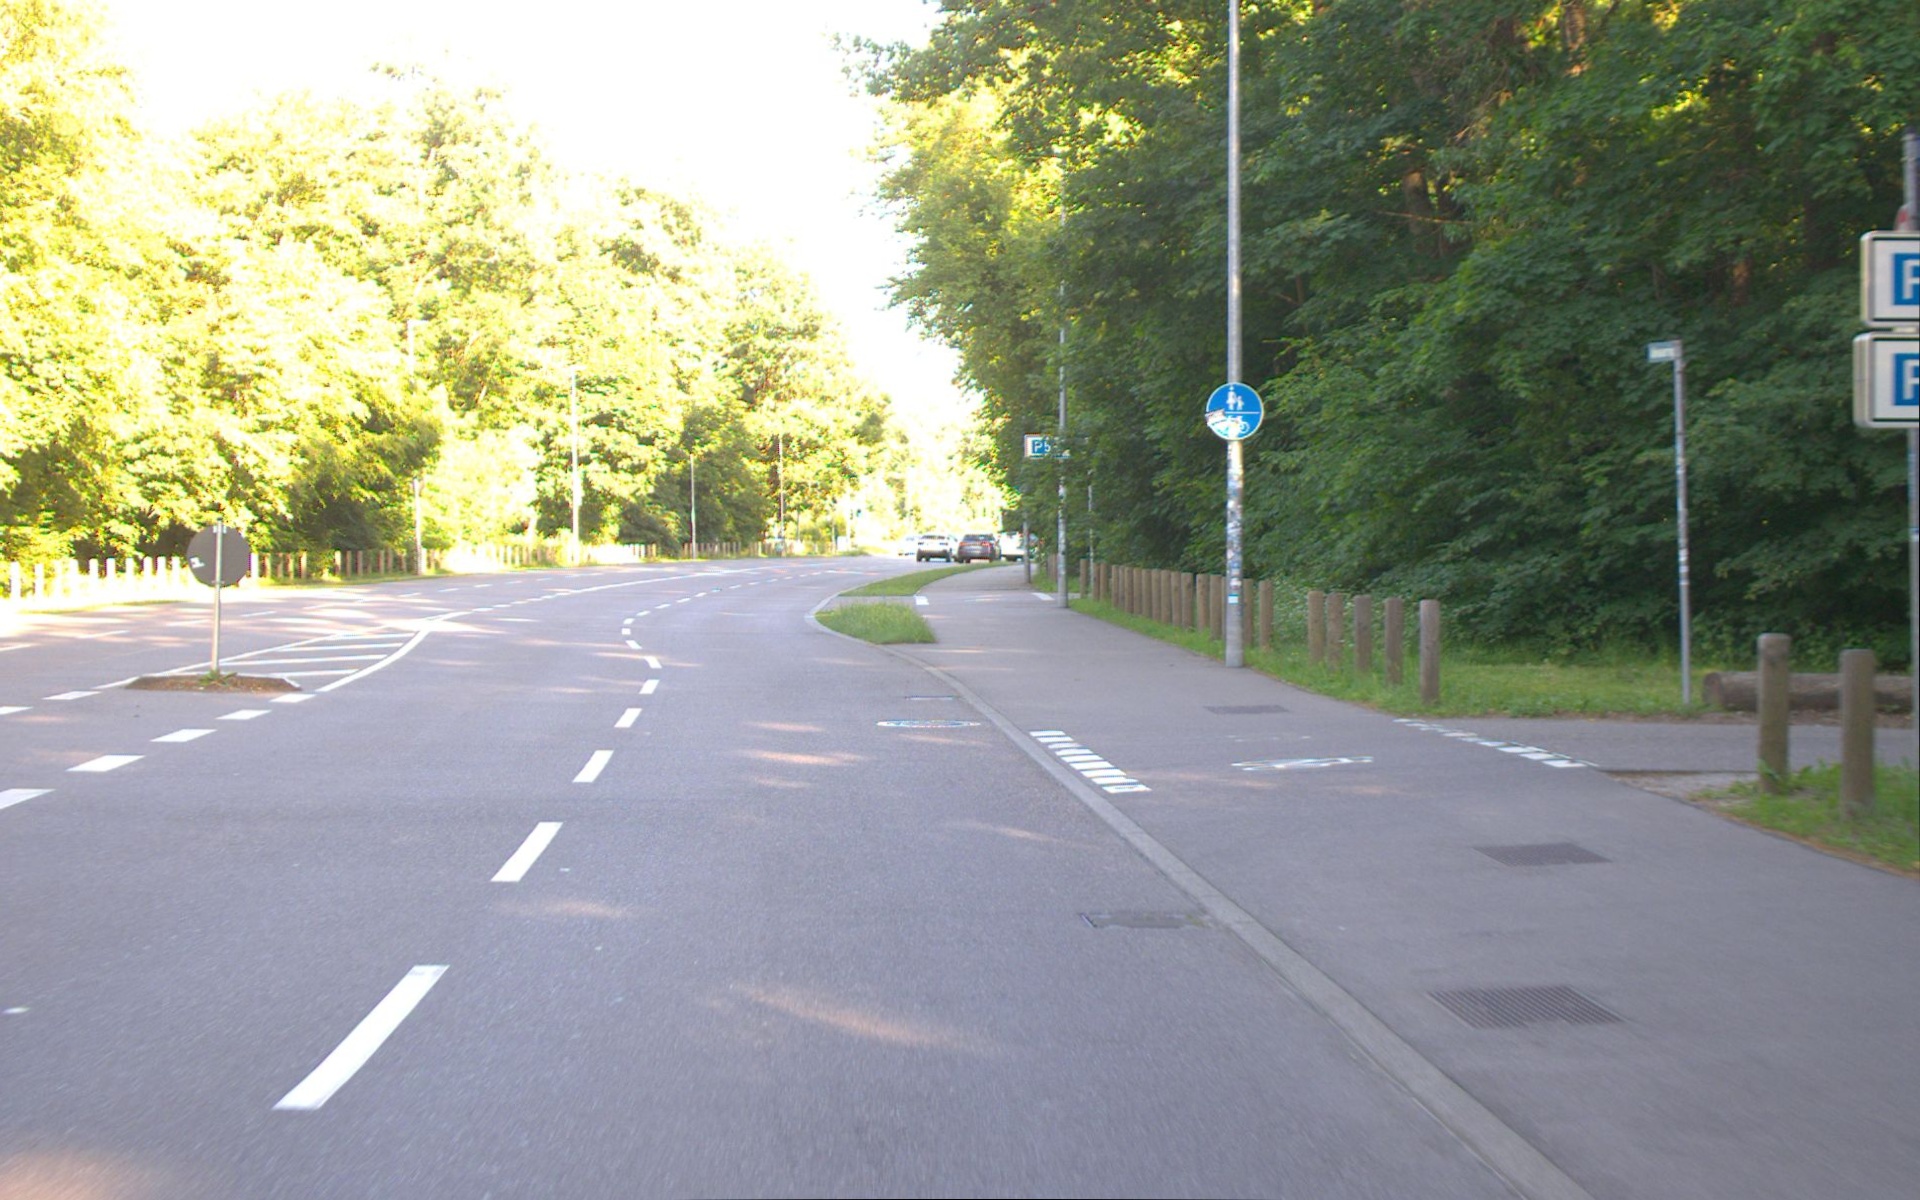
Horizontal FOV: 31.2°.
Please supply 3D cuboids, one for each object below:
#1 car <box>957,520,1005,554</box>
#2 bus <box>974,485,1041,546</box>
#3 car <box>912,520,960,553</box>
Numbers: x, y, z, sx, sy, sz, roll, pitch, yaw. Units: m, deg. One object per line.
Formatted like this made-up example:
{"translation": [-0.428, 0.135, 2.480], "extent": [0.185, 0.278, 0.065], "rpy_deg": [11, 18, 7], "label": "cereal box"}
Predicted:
{"translation": [1.111, -3.291, 178.487], "extent": [1.881, 1.759, 3.999], "rpy_deg": [0, 1, 10], "label": "car"}
{"translation": [2.711, -4.805, 194.959], "extent": [2.606, 3.357, 7.973], "rpy_deg": [1, 1, 9], "label": "bus"}
{"translation": [-1.252, -3.392, 183.628], "extent": [1.881, 1.703, 3.999], "rpy_deg": [0, 1, 10], "label": "car"}
